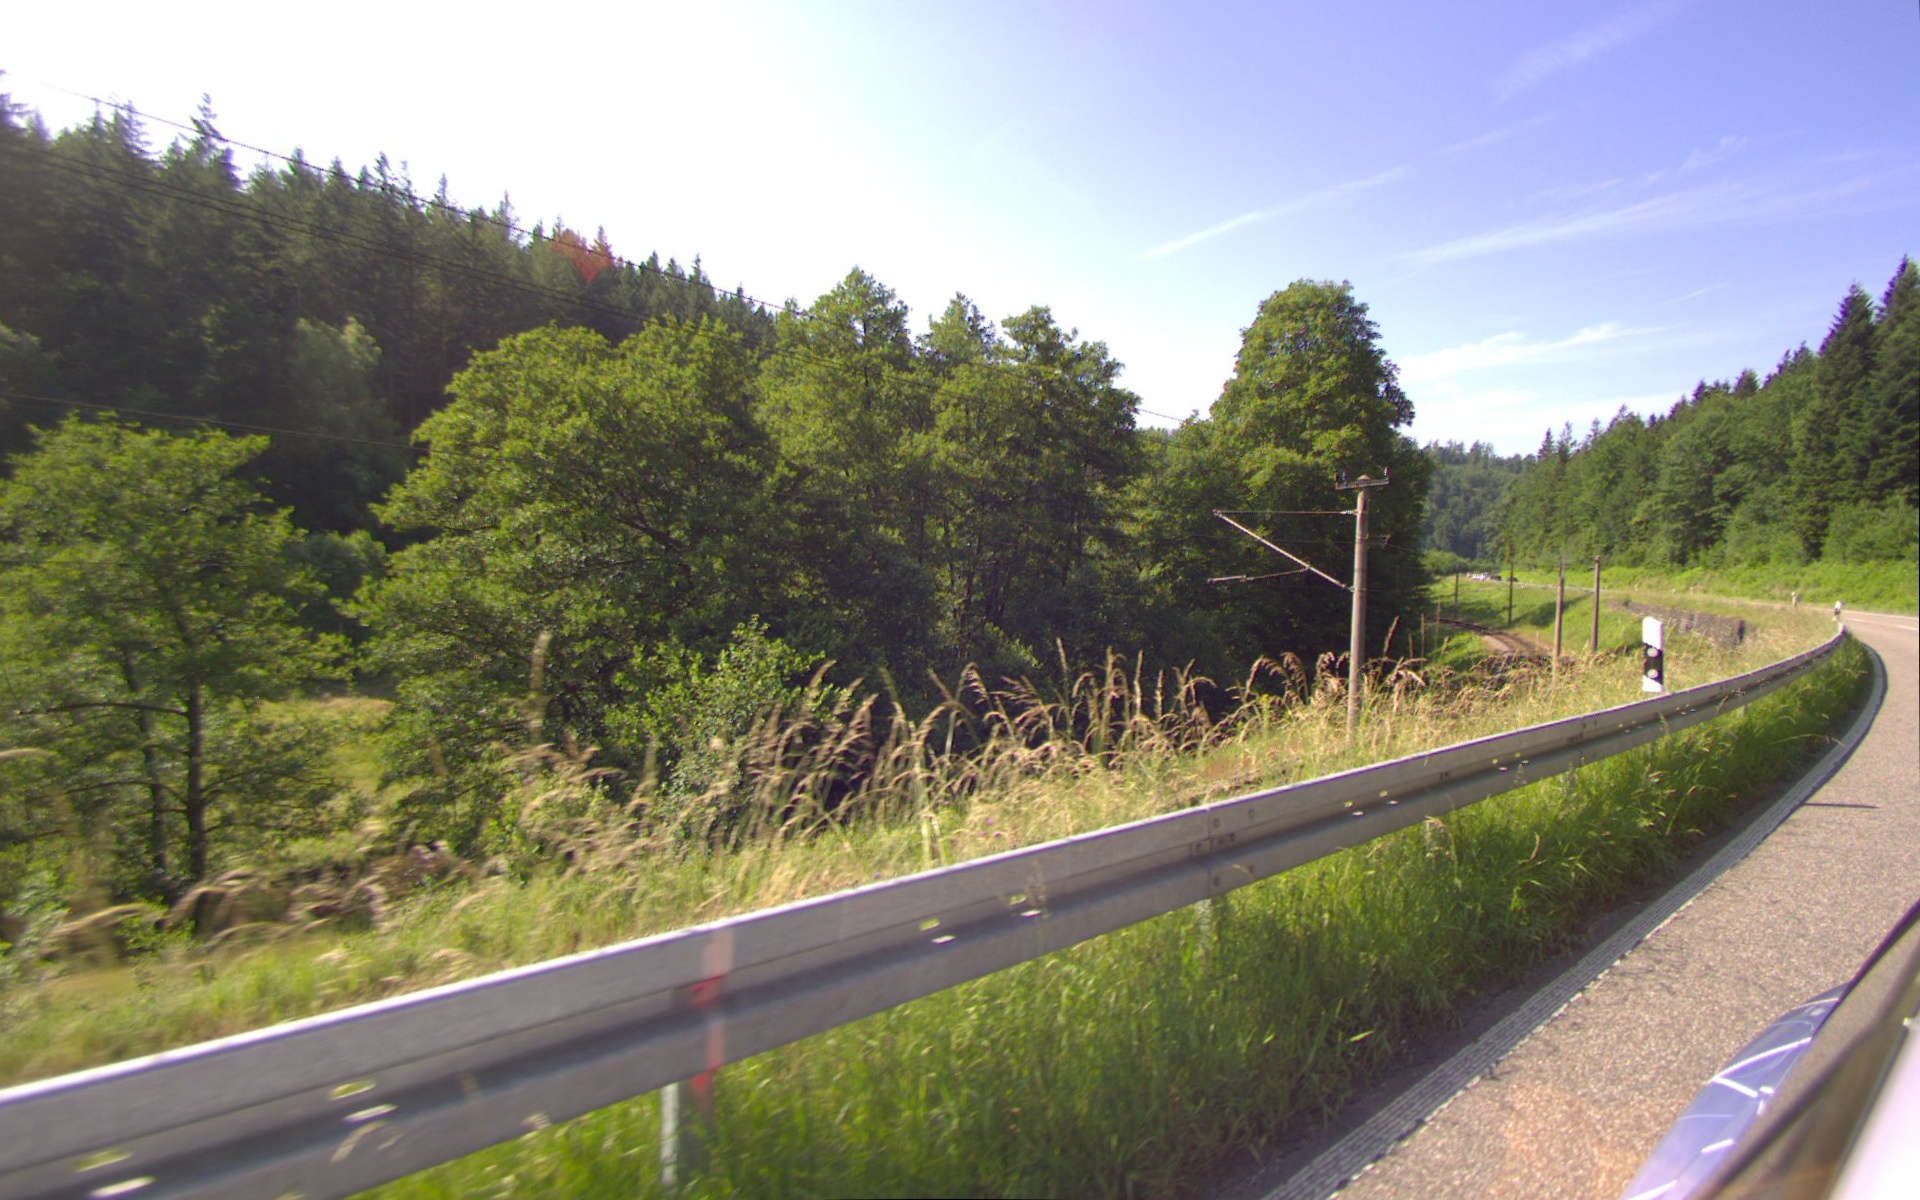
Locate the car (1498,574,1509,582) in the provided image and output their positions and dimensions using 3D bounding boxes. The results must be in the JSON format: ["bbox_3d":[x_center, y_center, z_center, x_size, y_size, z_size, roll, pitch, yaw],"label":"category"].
[{"bbox_3d":[123.556,-5.017,230.055,1.817,1.649,4.320,1,2,22],"label":"car"}]
